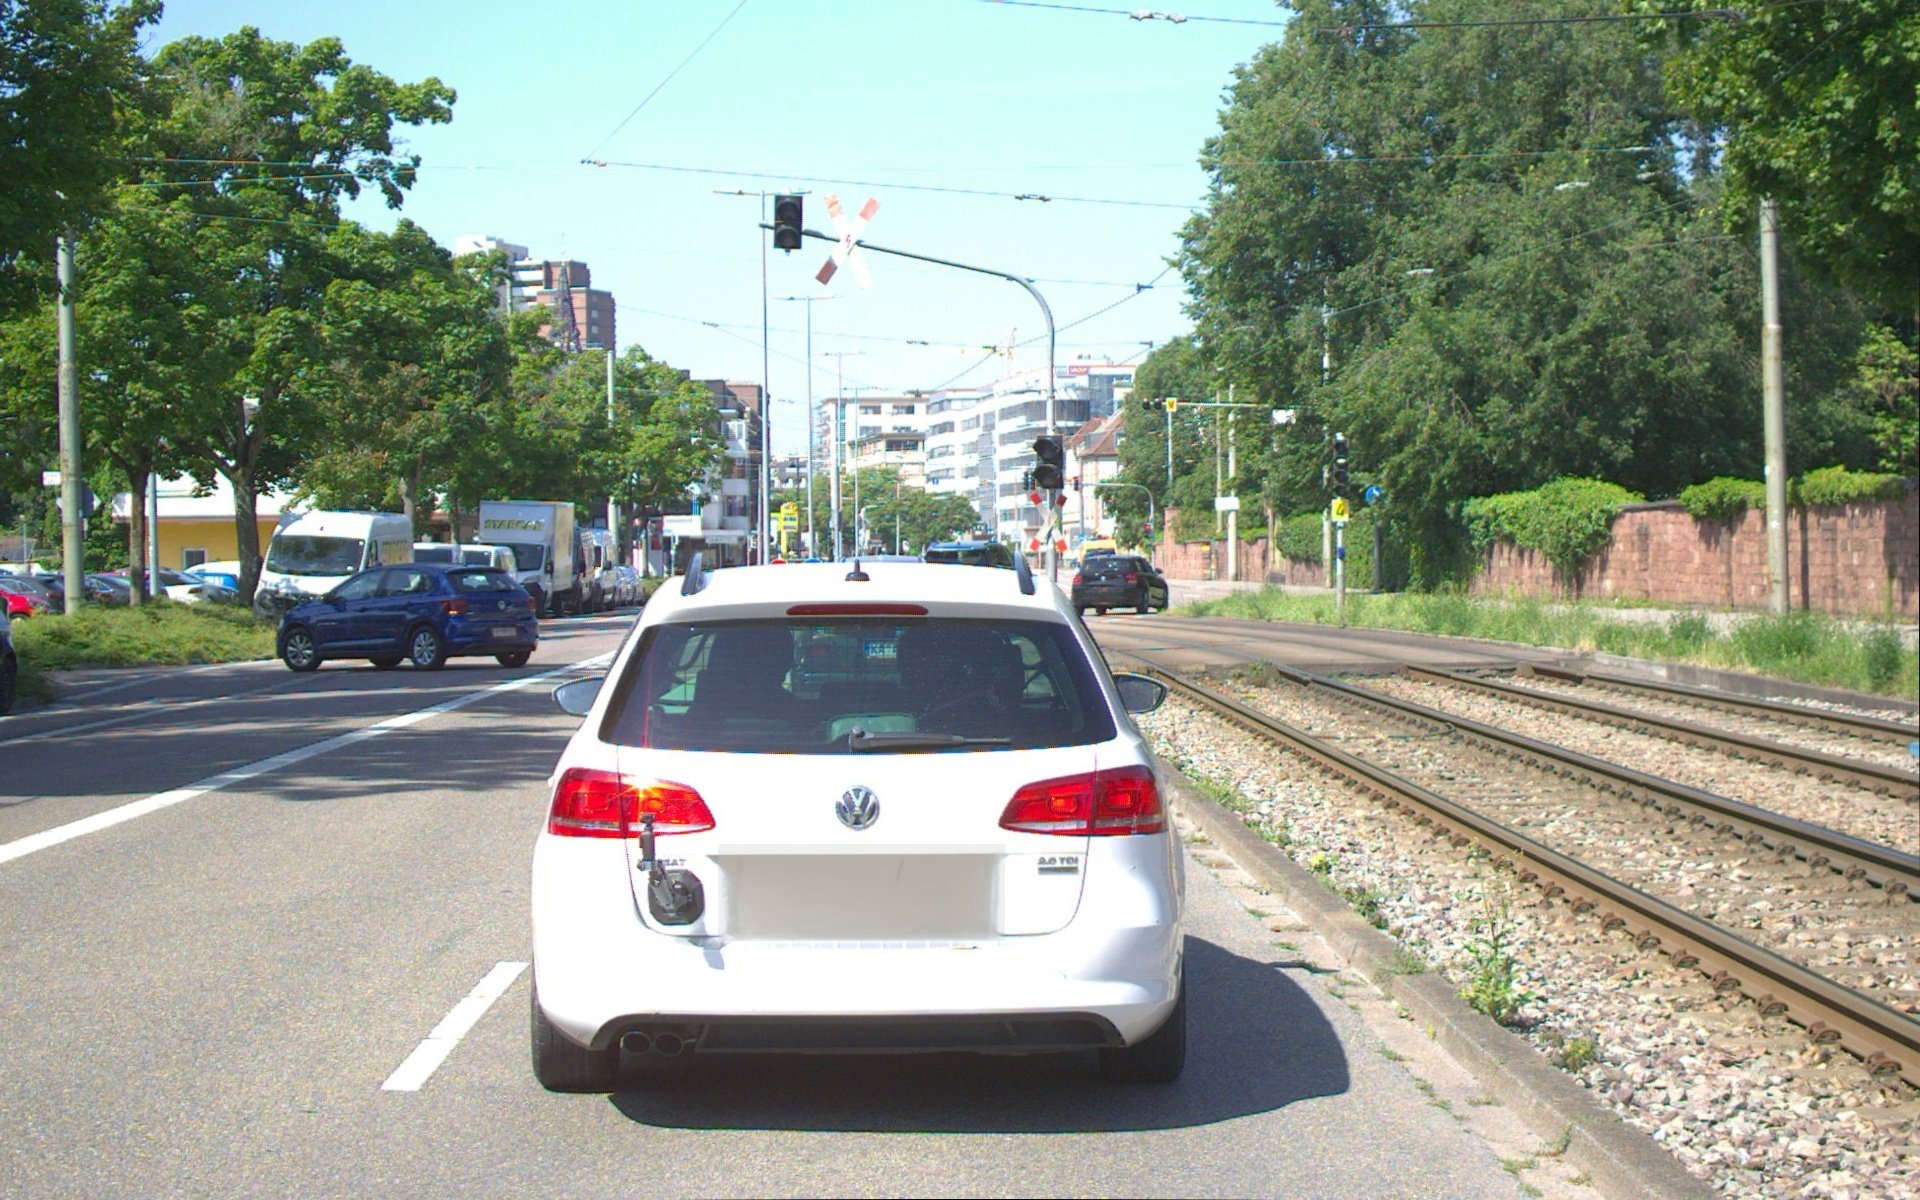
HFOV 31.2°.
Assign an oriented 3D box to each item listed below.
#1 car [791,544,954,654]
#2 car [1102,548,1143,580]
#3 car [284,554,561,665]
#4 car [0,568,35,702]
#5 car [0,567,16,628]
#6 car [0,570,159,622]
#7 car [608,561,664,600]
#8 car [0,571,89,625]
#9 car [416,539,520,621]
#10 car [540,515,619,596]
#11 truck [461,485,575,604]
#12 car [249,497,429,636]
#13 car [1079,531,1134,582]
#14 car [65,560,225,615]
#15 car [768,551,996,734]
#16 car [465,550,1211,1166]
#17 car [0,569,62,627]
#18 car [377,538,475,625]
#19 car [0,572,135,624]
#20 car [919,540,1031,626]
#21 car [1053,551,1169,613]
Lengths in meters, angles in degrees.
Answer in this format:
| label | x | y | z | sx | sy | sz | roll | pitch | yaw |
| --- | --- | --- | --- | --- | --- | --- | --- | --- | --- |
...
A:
| label | x | y | z | sx | sy | sz | roll | pitch | yaw |
| --- | --- | --- | --- | --- | --- | --- | --- | --- | --- |
| car | -1.155 | -0.045 | 47.476 | 1.861 | 1.412 | 4.324 | 1 | 1 | 3 |
| car | 7.305 | -1.614 | 154.437 | 1.581 | 1.341 | 3.454 | 1 | 0 | -1 |
| car | -7.321 | 0.098 | 46.603 | 1.747 | 1.403 | 3.911 | -1 | 2 | -45 |
| car | -11.213 | 0.375 | 36.533 | 1.641 | 1.445 | 4.004 | 1 | 1 | 0 |
| car | -23.020 | -0.022 | 75.613 | 3.987 | 1.345 | 1.771 | -1 | 1 | 2 |
| car | -22.656 | -0.105 | 87.677 | 3.987 | 1.221 | 1.771 | -1 | 1 | 2 |
| car | -12.277 | -0.748 | 130.354 | 1.780 | 1.428 | 4.038 | -1 | 1 | -1 |
| car | -22.681 | -0.027 | 80.651 | 3.987 | 1.221 | 1.771 | -1 | 1 | 2 |
| car | -12.221 | -0.535 | 85.660 | 1.843 | 1.954 | 5.134 | -1 | 1 | 0 |
| car | -12.142 | -1.418 | 109.901 | 1.843 | 2.486 | 5.857 | -1 | 1 | 0 |
| truck | -12.126 | -1.523 | 94.773 | 2.356 | 3.112 | 6.892 | -1 | 1 | -1 |
| car | -11.914 | -0.675 | 66.369 | 2.059 | 2.492 | 6.307 | 2 | 1 | 2 |
| car | 7.528 | -2.225 | 177.280 | 2.463 | 2.490 | 5.910 | 1 | 0 | -1 |
| car | -22.590 | -0.346 | 95.360 | 3.987 | 1.439 | 1.771 | -1 | 1 | 2 |
| car | -0.647 | 0.307 | 28.748 | 1.746 | 1.383 | 3.913 | 1 | 1 | -1 |
| car | -0.346 | 0.598 | 10.264 | 1.768 | 1.441 | 3.913 | 1 | 1 | -2 |
| car | -22.671 | -0.029 | 78.176 | 3.987 | 1.260 | 1.771 | -1 | 1 | 2 |
| car | -12.437 | -0.454 | 80.267 | 1.843 | 1.930 | 5.195 | -1 | 1 | -4 |
| car | -22.750 | -0.045 | 85.558 | 3.987 | 1.221 | 1.771 | -1 | 1 | 2 |
| car | 0.305 | -0.338 | 64.590 | 1.861 | 1.508 | 3.913 | 1 | 1 | 3 |
| car | 3.633 | -0.436 | 82.098 | 1.747 | 1.403 | 3.909 | 2 | 1 | 18 |
